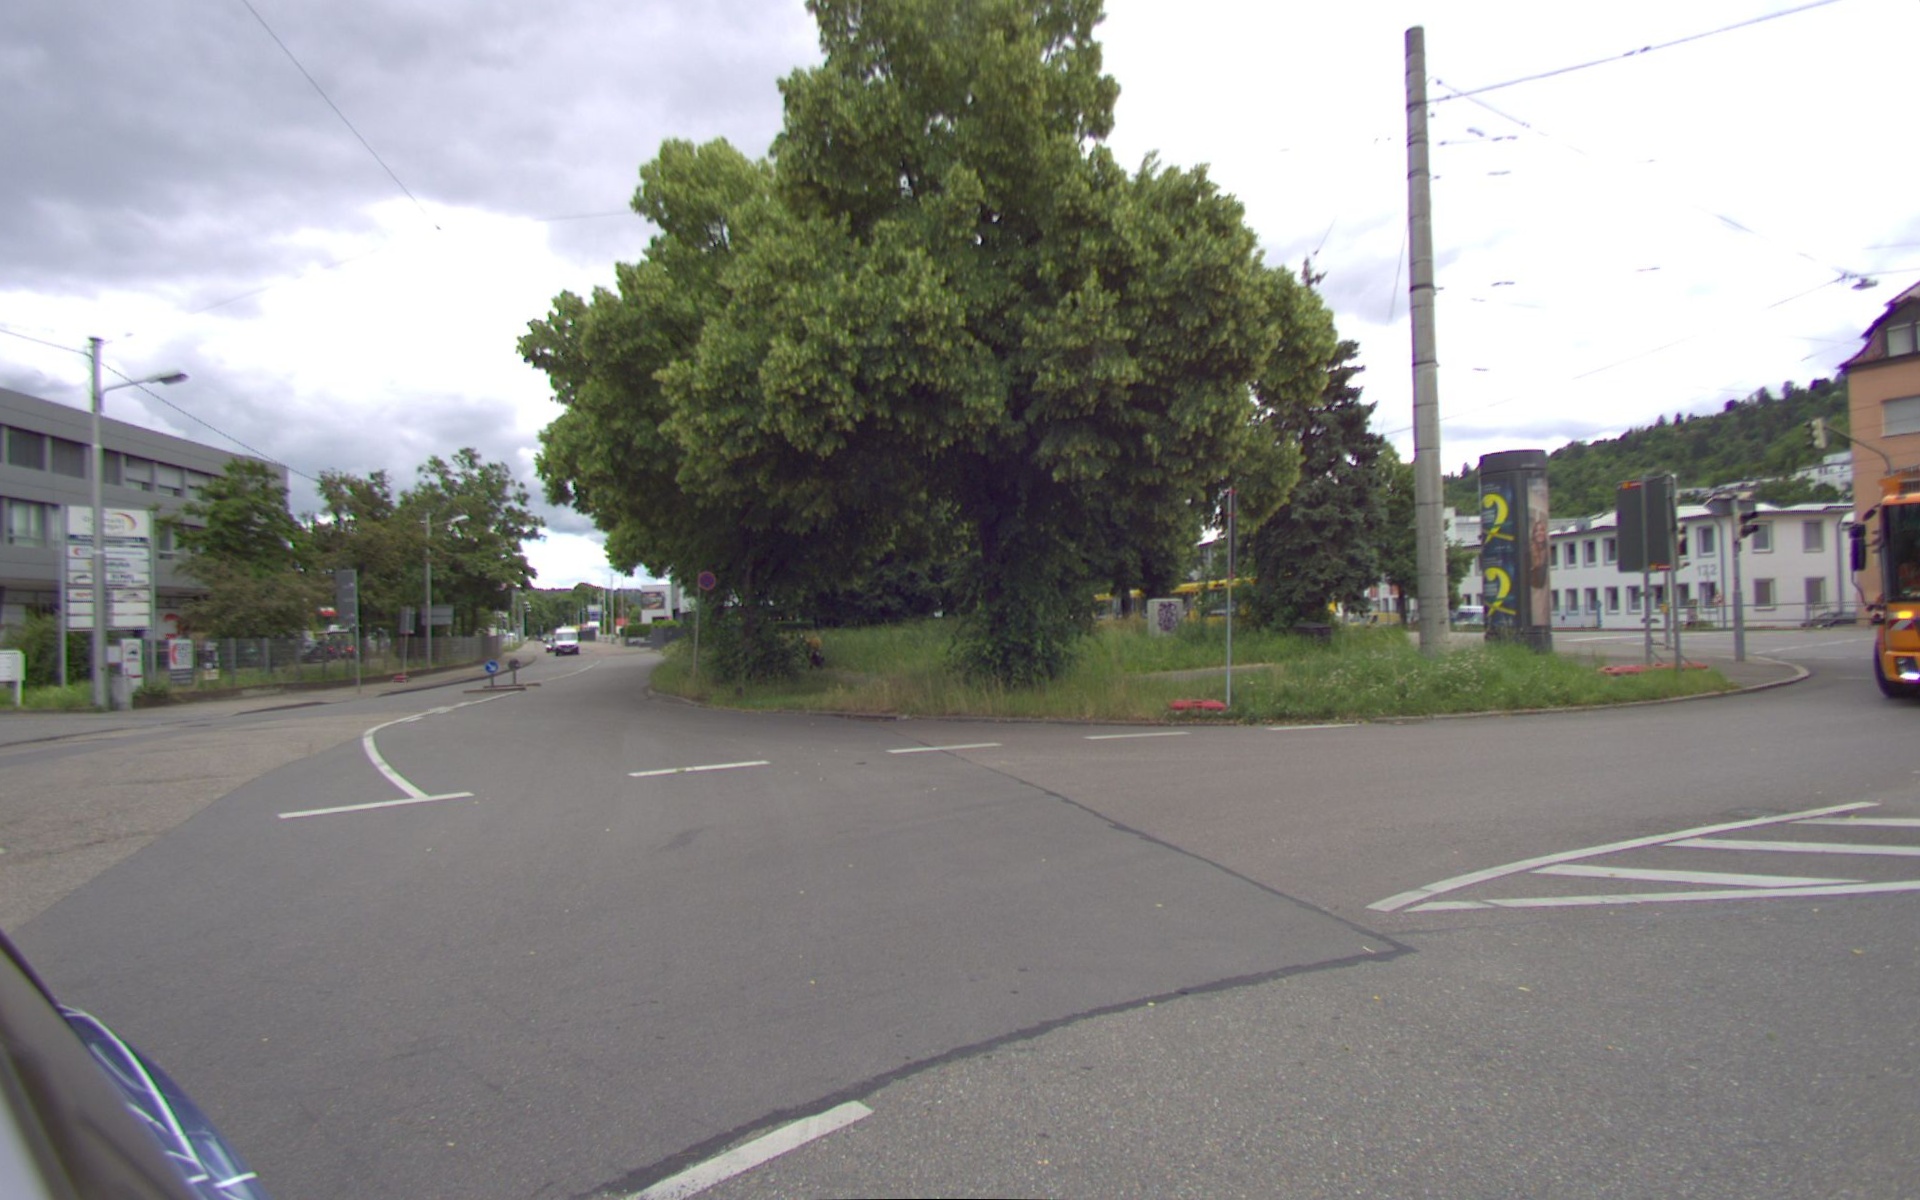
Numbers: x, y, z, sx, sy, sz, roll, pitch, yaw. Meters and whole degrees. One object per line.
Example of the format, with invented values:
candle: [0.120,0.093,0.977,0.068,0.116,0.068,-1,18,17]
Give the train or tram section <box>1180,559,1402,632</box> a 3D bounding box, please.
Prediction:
train or tram section: [19.499,0.036,62.667,3.223,3.694,19.224,-2,-1,-14]

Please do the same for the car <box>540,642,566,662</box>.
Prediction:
car: [-42.576,5.374,106.015,2.348,1.884,5.223,-2,-1,-20]

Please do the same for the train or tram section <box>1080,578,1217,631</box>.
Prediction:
train or tram section: [14.681,0.578,82.031,3.223,3.694,19.224,-2,-1,-14]

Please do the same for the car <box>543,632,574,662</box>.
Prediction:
car: [-36.367,4.241,91.747,2.348,2.477,6.119,-2,-1,-20]

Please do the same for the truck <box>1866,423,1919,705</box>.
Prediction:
truck: [16.303,-0.609,15.931,2.797,3.553,10.279,-2,0,41]
